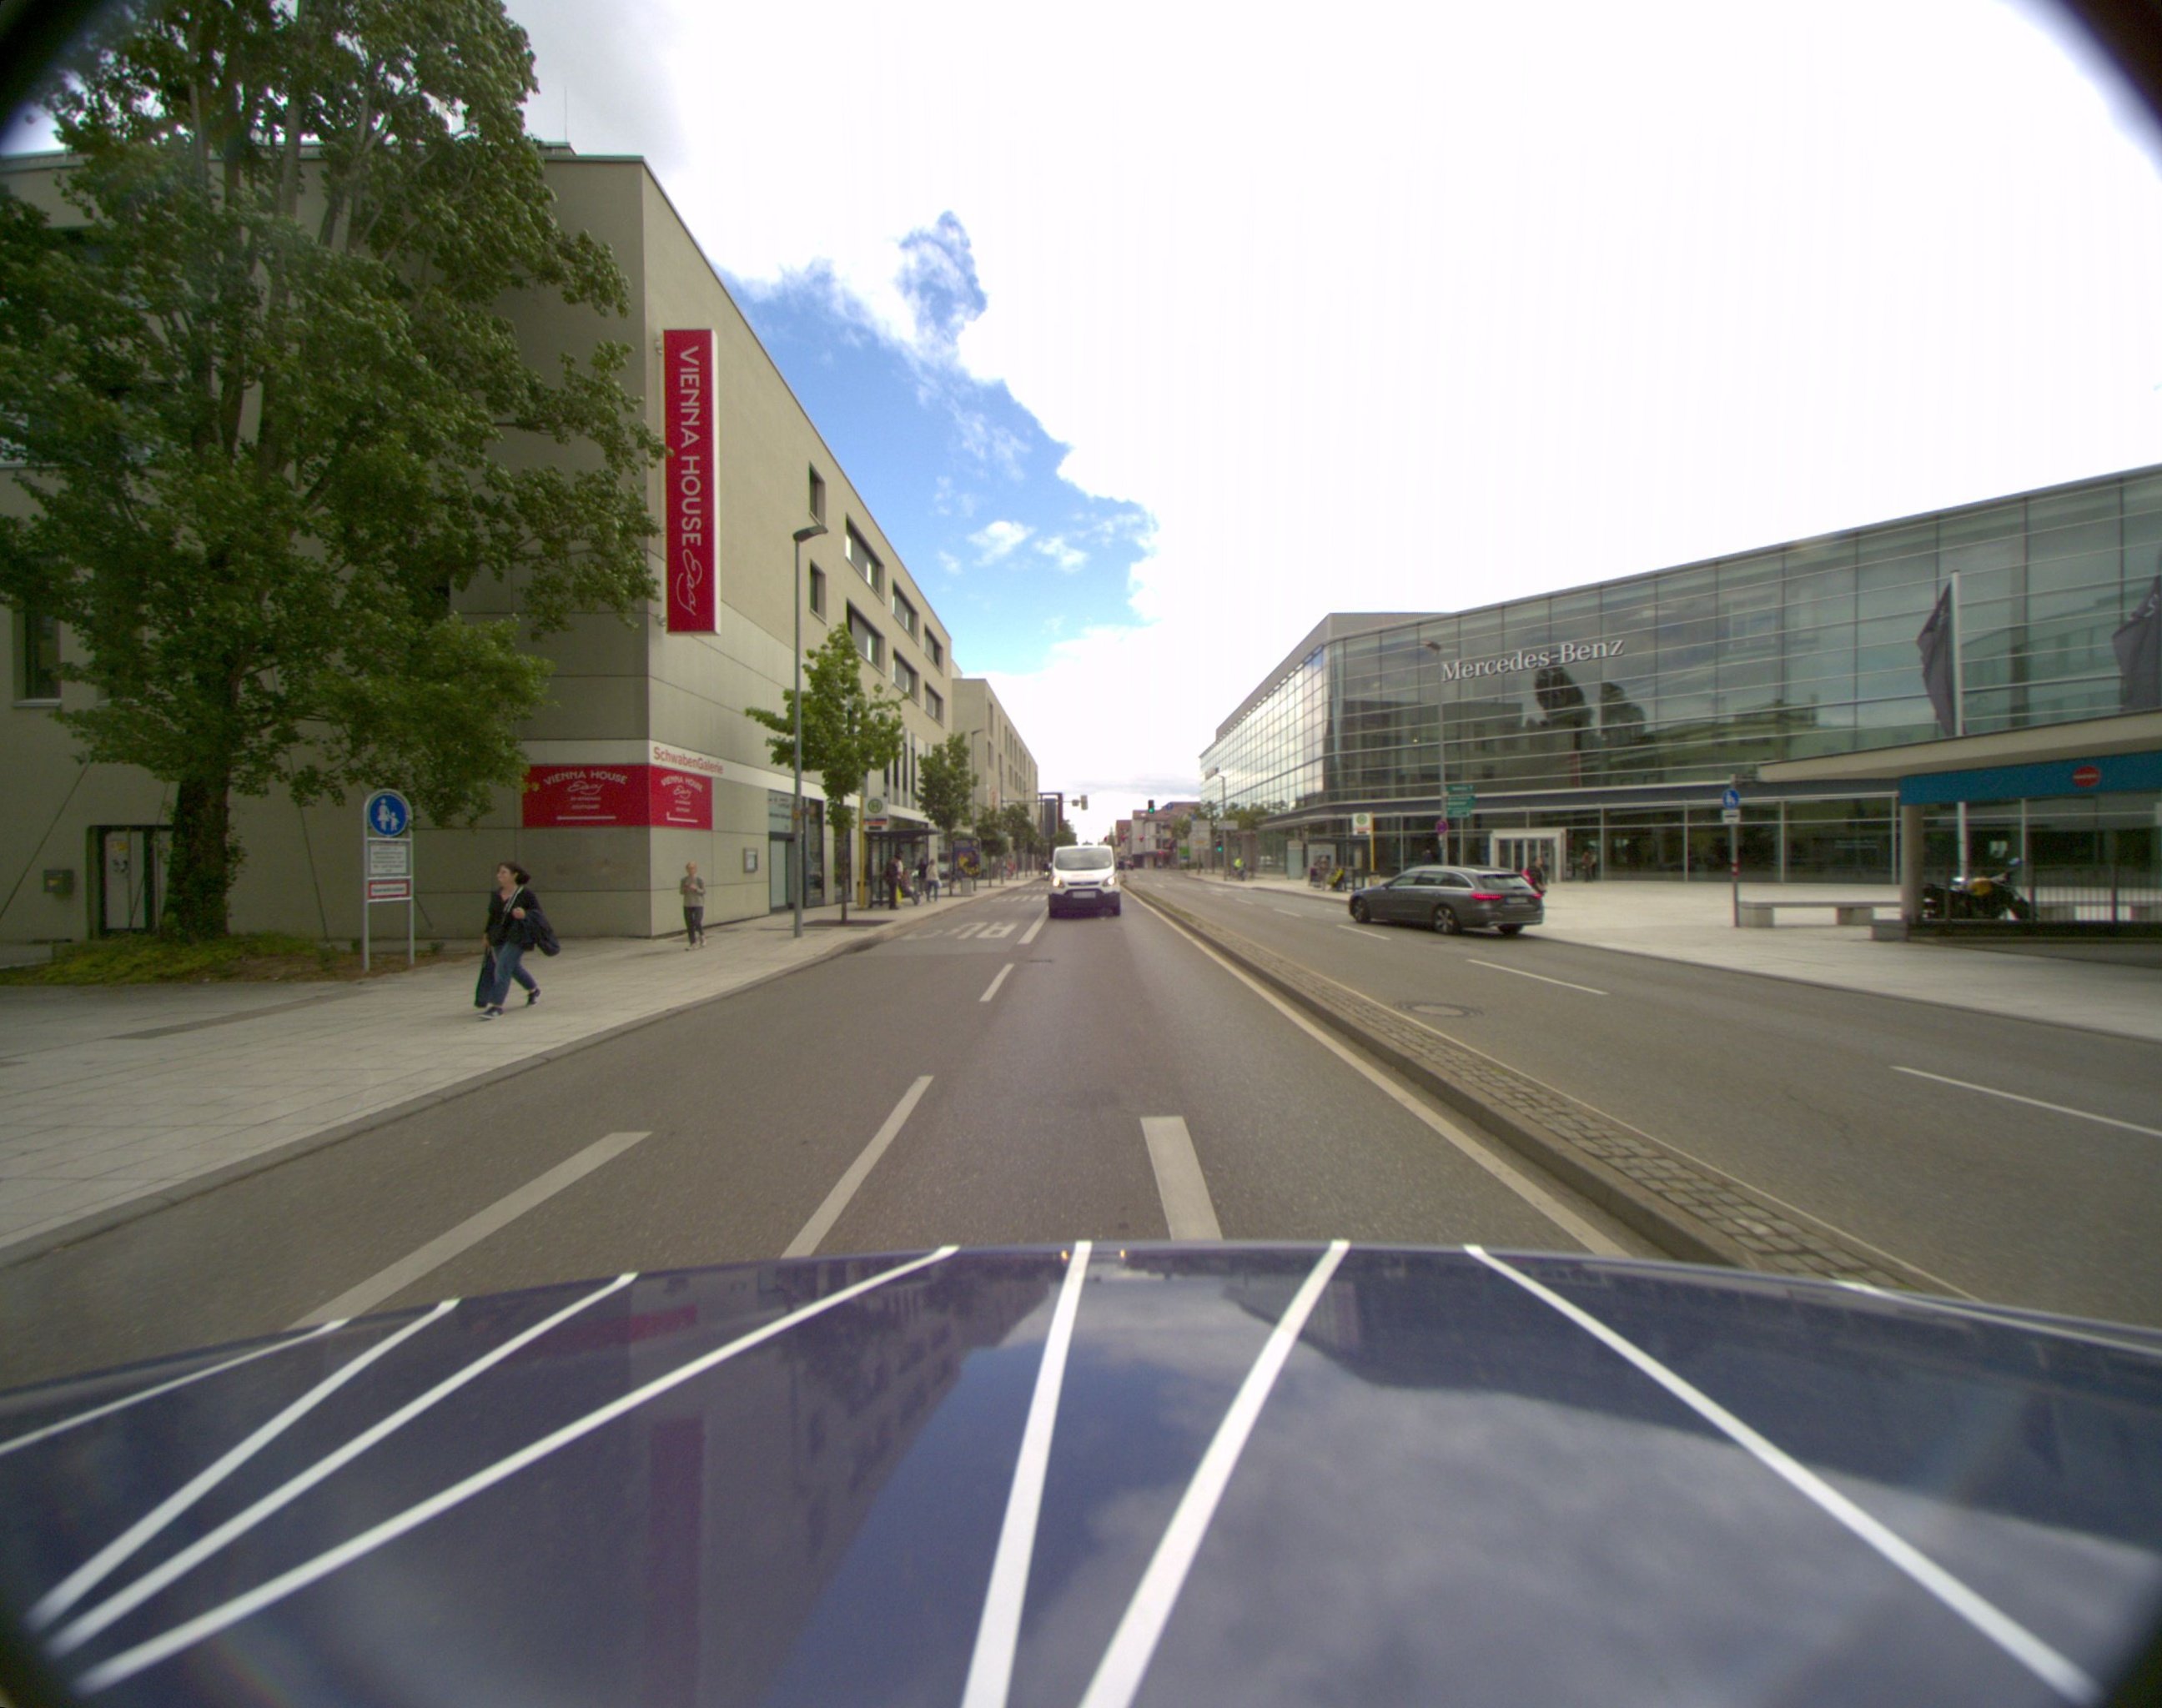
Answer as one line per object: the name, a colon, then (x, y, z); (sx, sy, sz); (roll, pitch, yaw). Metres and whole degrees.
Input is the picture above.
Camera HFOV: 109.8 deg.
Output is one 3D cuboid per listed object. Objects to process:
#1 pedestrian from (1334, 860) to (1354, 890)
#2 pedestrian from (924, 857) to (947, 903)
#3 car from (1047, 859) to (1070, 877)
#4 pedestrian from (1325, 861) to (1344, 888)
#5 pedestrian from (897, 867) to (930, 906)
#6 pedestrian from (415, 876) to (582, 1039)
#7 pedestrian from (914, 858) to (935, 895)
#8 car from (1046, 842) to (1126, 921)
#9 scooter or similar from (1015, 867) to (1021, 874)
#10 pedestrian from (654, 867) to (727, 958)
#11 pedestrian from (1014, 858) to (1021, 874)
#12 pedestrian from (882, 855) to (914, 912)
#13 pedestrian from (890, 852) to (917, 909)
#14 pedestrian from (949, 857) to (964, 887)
pedestrian: (11.828, 0.949, 34.203); (0.686, 1.312, 0.576); (1, 1, -1)
pedestrian: (-5.088, 0.908, 26.556); (0.580, 1.581, 0.733); (1, 1, 6)
car: (-1.909, 1.188, 65.083); (1.787, 1.417, 4.514); (-2, 0, 0)
pedestrian: (11.822, 0.952, 35.497); (0.686, 1.246, 0.576); (0, 1, -1)
pedestrian: (-5.510, 1.051, 25.067); (0.945, 1.252, 0.732); (0, 1, -2)
pedestrian: (-6.096, 1.041, 8.028); (0.949, 1.574, 1.016); (0, 1, 0)
pedestrian: (-6.856, 0.978, 33.338); (0.742, 1.599, 0.715); (-1, 0, 1)
car: (0.157, 0.722, 22.349); (2.000, 1.976, 5.000); (-2, 0, 1)
scooter or similar: (-6.183, 1.605, 74.461); (0.552, 0.630, 0.767); (1, 0, 1)
pedestrian: (-6.987, 1.025, 13.625); (0.871, 1.574, 0.804); (0, 1, 0)
pedestrian: (-6.186, 1.139, 73.690); (0.590, 1.558, 0.732); (1, 0, 1)
pedestrian: (-5.463, 0.865, 22.692); (0.722, 1.674, 0.733); (1, 1, 6)
pedestrian: (-5.588, 0.810, 23.991); (0.580, 1.759, 0.857); (1, 1, 6)
pedestrian: (-7.150, 1.027, 43.702); (0.746, 1.659, 0.614); (-1, 0, 1)
